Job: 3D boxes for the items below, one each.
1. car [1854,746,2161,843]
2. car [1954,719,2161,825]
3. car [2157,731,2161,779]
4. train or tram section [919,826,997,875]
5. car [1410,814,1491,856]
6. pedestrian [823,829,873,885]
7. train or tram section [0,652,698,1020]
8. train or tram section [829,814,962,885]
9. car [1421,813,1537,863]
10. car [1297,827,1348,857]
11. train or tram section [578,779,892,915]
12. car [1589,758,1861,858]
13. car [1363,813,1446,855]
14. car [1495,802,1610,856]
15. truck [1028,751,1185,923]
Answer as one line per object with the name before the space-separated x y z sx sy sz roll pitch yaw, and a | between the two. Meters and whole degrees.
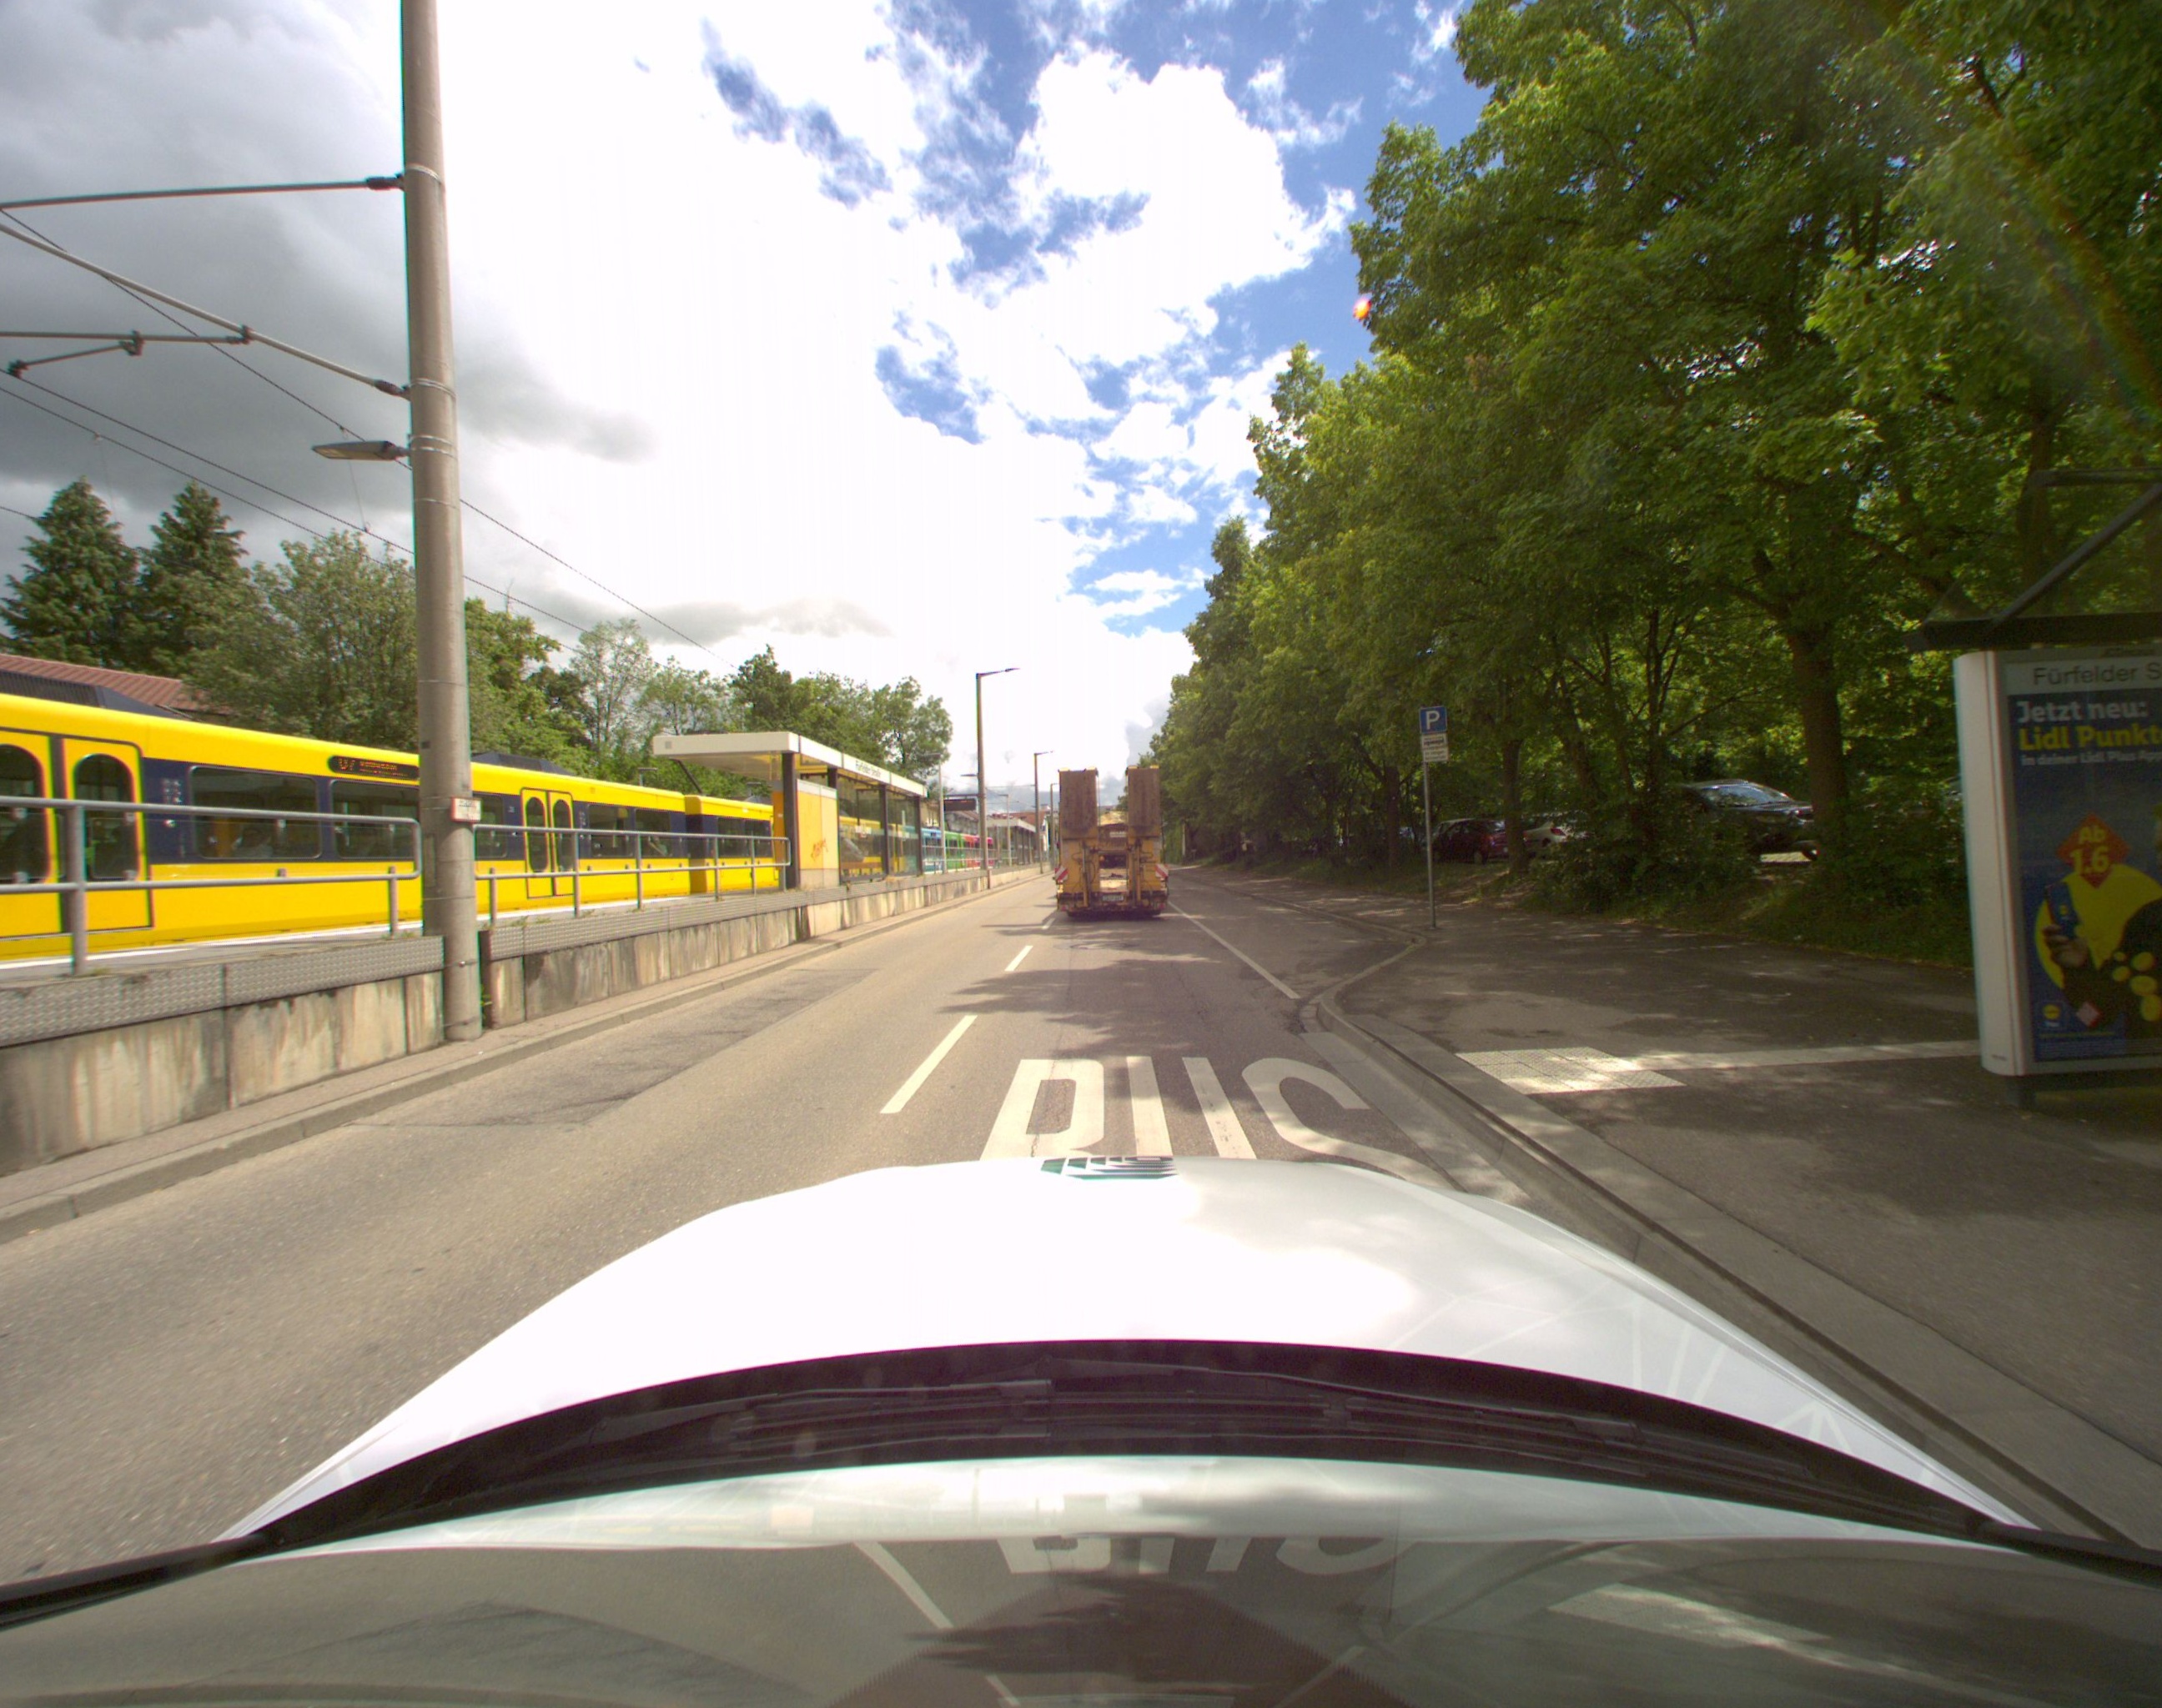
car | 17.571 -1.032 15.496 1.607 1.442 4.354 -5 0 2
car | 20.291 -1.610 16.042 1.607 1.790 4.210 -6 0 2
car | 17.418 -1.169 10.433 1.463 1.555 4.437 -6 0 4
train or tram section | -9.945 -0.268 68.600 3.096 3.464 19.096 -1 0 2
car | 15.675 -0.755 34.792 1.629 1.566 3.990 -4 0 1
pedestrian | -5.267 0.070 18.452 0.793 1.186 0.919 -4 0 0
train or tram section | -11.626 -0.160 11.438 3.096 3.464 18.832 -1 0 2
train or tram section | -10.490 -0.232 49.449 3.096 3.464 19.205 -1 0 2
car | 12.912 -0.483 26.688 1.607 1.413 3.811 -4 0 -6
car | 13.627 -0.652 46.221 1.708 1.507 4.162 -5 0 3
train or tram section | -11.065 -0.196 30.365 3.096 3.464 19.003 -1 0 2
car | 12.596 -0.803 16.424 1.839 1.662 4.726 -2 0 2
car | 13.020 -0.749 33.015 1.791 1.464 3.990 -4 0 1
car | 15.358 -0.777 26.741 1.685 1.508 3.624 -5 0 3
truck | 0.502 -0.398 25.079 3.392 3.732 13.733 -2 0 -1
